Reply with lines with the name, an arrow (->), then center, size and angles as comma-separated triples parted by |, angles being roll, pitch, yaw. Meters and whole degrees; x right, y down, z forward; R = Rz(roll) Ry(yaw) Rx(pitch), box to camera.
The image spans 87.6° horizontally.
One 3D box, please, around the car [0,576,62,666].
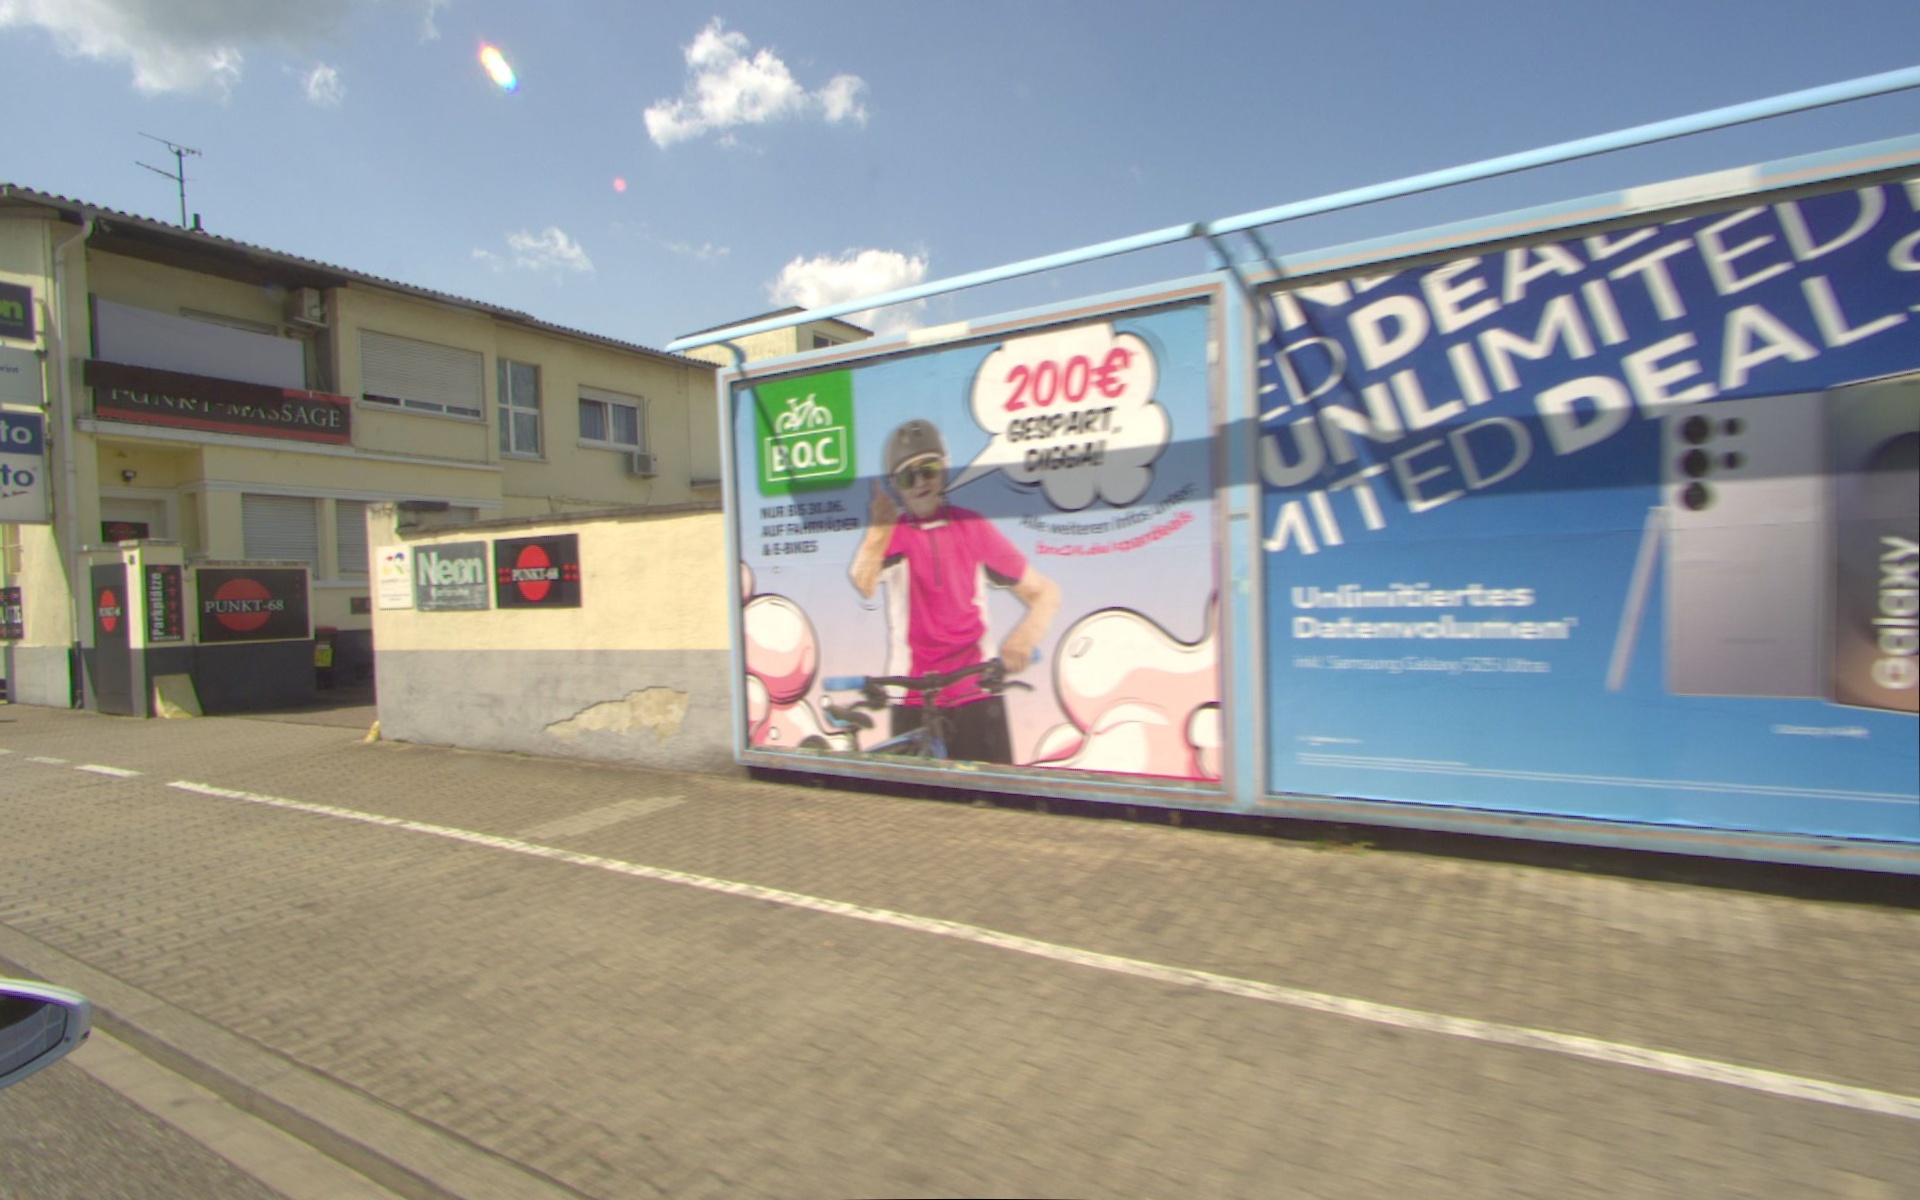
car -> -29.064, 0.656, 28.682 | 2.122, 2.607, 4.524 | -1, 0, 34
